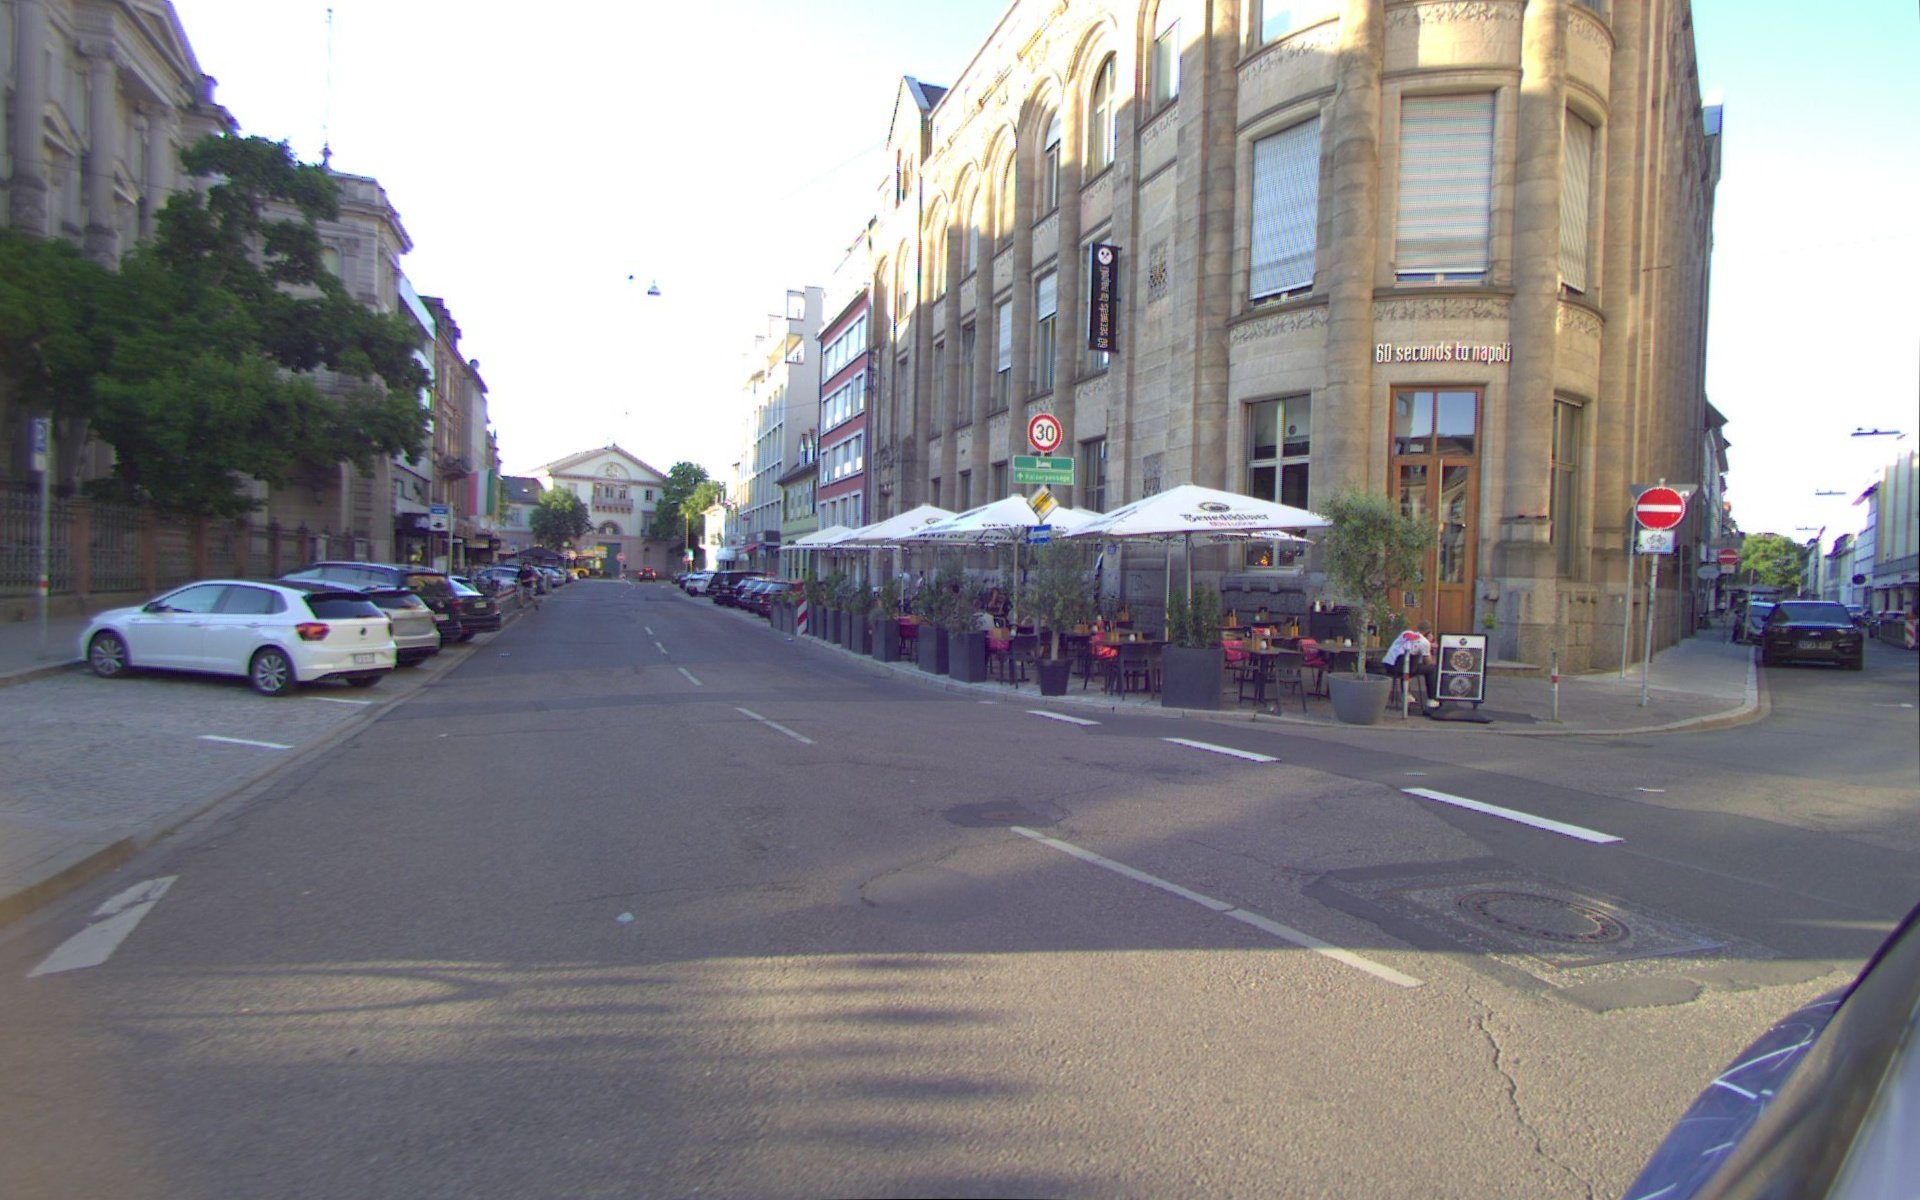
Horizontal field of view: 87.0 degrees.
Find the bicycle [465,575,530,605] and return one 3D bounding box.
[{"bbox_3d":[-17.827,-0.383,39.064,2.254,1.104,0.718,0,1,-23],"label":"bicycle"}]

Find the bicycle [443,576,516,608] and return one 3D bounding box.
[{"bbox_3d":[-16.662,-0.283,35.128,2.254,1.104,0.718,0,1,-23],"label":"bicycle"}]

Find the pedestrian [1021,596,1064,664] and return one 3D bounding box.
[{"bbox_3d":[1.498,0.541,18.497,0.588,1.203,0.575,1,1,-16],"label":"pedestrian"}]

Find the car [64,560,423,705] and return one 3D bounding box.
[{"bbox_3d":[-9.751,0.381,13.910,3.847,1.464,1.751,6,2,9],"label":"car"}]

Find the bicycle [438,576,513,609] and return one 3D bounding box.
[{"bbox_3d":[-16.364,-0.256,34.249,2.254,1.104,0.718,0,1,-23],"label":"bicycle"}]

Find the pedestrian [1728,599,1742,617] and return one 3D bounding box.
[{"bbox_3d":[55.929,0.605,73.037,0.734,1.258,0.637,1,1,40],"label":"pedestrian"}]

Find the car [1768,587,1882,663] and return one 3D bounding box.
[{"bbox_3d":[23.192,0.601,27.292,1.989,1.805,4.868,2,1,37],"label":"car"}]

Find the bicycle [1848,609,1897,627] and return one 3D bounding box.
[{"bbox_3d":[64.340,1.268,71.367,0.771,1.193,2.477,0,2,-45],"label":"bicycle"}]

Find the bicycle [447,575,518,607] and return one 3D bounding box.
[{"bbox_3d":[-16.963,-0.310,36.011,2.254,1.104,0.718,0,1,-23],"label":"bicycle"}]

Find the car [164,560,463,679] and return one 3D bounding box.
[{"bbox_3d":[-10.518,0.265,16.594,3.934,1.544,1.751,4,2,9],"label":"car"}]

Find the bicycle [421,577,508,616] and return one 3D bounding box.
[{"bbox_3d":[-14.548,-0.115,29.796,2.254,1.104,0.718,0,1,-23],"label":"bicycle"}]

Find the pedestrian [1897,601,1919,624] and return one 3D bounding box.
[{"bbox_3d":[44.463,0.583,47.459,0.629,1.080,0.554,1,1,31],"label":"pedestrian"}]

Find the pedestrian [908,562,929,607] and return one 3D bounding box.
[{"bbox_3d":[-1.644,-0.608,40.129,0.585,1.751,0.630,1,1,-24],"label":"pedestrian"}]

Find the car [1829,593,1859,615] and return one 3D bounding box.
[{"bbox_3d":[87.992,0.397,100.773,1.990,2.067,4.397,2,1,38],"label":"car"}]

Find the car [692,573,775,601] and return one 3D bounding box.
[{"bbox_3d":[-12.098,-0.711,54.307,1.904,1.430,4.144,2,2,37],"label":"car"}]

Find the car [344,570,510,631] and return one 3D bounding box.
[{"bbox_3d":[-13.624,-0.022,25.860,3.957,1.430,1.741,1,1,25],"label":"car"}]

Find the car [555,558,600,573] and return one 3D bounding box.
[{"bbox_3d":[-46.556,-4.183,123.194,4.783,1.757,1.754,-1,2,-38],"label":"car"}]

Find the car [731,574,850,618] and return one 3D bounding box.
[{"bbox_3d":[-5.873,-0.176,35.461,1.745,1.430,4.015,2,2,37],"label":"car"}]

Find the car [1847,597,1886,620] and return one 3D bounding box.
[{"bbox_3d":[70.941,0.624,79.257,1.990,1.697,4.397,2,1,38],"label":"car"}]

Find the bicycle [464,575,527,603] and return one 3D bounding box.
[{"bbox_3d":[-18.262,-0.429,39.848,2.254,1.104,0.718,0,1,-23],"label":"bicycle"}]

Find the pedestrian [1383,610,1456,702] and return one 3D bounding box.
[{"bbox_3d":[6.374,0.758,14.030,0.807,1.203,0.607,1,1,-41],"label":"pedestrian"}]

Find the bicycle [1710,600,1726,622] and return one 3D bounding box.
[{"bbox_3d":[39.829,0.574,53.184,0.518,1.103,1.728,7,4,38],"label":"bicycle"}]

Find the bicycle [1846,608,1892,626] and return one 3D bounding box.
[{"bbox_3d":[66.821,1.265,74.425,0.771,1.193,2.477,0,2,-45],"label":"bicycle"}]

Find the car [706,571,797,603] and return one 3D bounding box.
[{"bbox_3d":[-9.649,-0.631,47.077,1.745,1.430,4.052,2,2,37],"label":"car"}]

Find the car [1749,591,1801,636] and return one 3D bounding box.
[{"bbox_3d":[35.347,0.543,43.908,1.668,1.829,4.179,1,1,39],"label":"car"}]

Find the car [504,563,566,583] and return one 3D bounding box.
[{"bbox_3d":[-31.780,-2.005,75.794,3.923,1.430,1.756,1,1,-1],"label":"car"}]

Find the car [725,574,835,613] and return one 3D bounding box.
[{"bbox_3d":[-6.922,-0.290,39.205,1.745,1.430,4.127,2,2,37],"label":"car"}]

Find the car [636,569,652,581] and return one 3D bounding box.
[{"bbox_3d":[-37.277,-2.951,119.273,1.718,1.430,4.009,0,2,-18],"label":"car"}]

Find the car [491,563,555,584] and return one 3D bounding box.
[{"bbox_3d":[-31.536,-1.938,73.128,3.923,1.430,1.756,1,1,-1],"label":"car"}]

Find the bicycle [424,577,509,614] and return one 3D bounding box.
[{"bbox_3d":[-14.877,-0.139,30.567,2.254,1.104,0.718,0,1,-23],"label":"bicycle"}]

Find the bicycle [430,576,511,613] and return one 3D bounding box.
[{"bbox_3d":[-15.279,-0.174,31.671,2.254,1.104,0.718,0,1,-23],"label":"bicycle"}]

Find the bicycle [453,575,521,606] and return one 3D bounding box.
[{"bbox_3d":[-17.308,-0.343,37.080,2.254,1.104,0.718,0,1,-23],"label":"bicycle"}]

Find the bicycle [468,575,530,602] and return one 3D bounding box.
[{"bbox_3d":[-18.685,-0.467,41.056,2.254,1.104,0.718,0,1,-23],"label":"bicycle"}]

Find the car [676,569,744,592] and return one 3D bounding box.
[{"bbox_3d":[-15.992,-1.240,64.823,1.745,1.430,4.023,2,2,37],"label":"car"}]

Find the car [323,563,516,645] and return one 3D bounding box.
[{"bbox_3d":[-11.869,0.035,22.222,3.957,1.628,1.741,1,1,25],"label":"car"}]

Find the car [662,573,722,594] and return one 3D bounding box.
[{"bbox_3d":[-19.128,-1.215,72.460,1.745,1.430,3.958,2,2,37],"label":"car"}]

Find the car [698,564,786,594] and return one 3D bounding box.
[{"bbox_3d":[-10.681,-1.048,49.823,1.745,1.430,4.144,2,2,37],"label":"car"}]

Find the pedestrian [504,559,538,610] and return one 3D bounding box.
[{"bbox_3d":[-15.527,-0.554,35.821,0.953,1.771,1.005,1,1,-18],"label":"pedestrian"}]

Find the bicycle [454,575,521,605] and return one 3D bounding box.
[{"bbox_3d":[-17.646,-0.369,37.870,2.254,1.104,0.718,0,1,-23],"label":"bicycle"}]

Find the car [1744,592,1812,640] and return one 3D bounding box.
[{"bbox_3d":[31.989,0.581,39.668,1.768,1.687,3.949,3,2,36],"label":"car"}]

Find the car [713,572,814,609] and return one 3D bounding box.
[{"bbox_3d":[-8.060,-0.432,41.817,1.745,1.430,3.977,2,2,37],"label":"car"}]

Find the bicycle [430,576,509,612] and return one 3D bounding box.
[{"bbox_3d":[-15.681,-0.198,32.418,2.254,1.104,0.718,0,1,-23],"label":"bicycle"}]

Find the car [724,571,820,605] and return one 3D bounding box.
[{"bbox_3d":[-8.295,-0.556,44.871,1.745,1.430,4.090,2,2,37],"label":"car"}]

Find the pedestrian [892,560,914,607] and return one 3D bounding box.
[{"bbox_3d":[-2.162,-0.627,38.628,0.616,1.751,0.598,1,1,-26],"label":"pedestrian"}]

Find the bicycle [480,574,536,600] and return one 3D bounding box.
[{"bbox_3d":[-19.998,-0.585,44.846,2.254,1.104,0.718,0,1,-23],"label":"bicycle"}]

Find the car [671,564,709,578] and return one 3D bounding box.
[{"bbox_3d":[-29.758,-3.201,111.680,3.916,1.430,1.759,0,1,-19],"label":"car"}]

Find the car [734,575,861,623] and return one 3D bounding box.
[{"bbox_3d":[-5.236,-0.079,33.067,1.745,1.430,4.052,2,2,37],"label":"car"}]

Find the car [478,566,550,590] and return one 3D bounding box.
[{"bbox_3d":[-27.338,-1.368,62.160,3.916,1.430,1.759,0,1,-19],"label":"car"}]

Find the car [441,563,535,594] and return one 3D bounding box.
[{"bbox_3d":[-22.414,-1.035,48.196,3.916,1.430,1.759,0,1,-19],"label":"car"}]

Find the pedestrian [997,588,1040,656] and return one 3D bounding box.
[{"bbox_3d":[1.124,0.420,19.541,0.588,1.261,0.687,1,1,-16],"label":"pedestrian"}]

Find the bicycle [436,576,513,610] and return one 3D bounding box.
[{"bbox_3d":[-15.976,-0.228,33.382,2.254,1.104,0.718,0,1,-23],"label":"bicycle"}]

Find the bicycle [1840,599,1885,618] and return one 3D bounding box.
[{"bbox_3d":[68.438,0.650,76.754,0.771,1.346,2.477,0,2,-45],"label":"bicycle"}]

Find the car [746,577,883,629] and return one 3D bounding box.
[{"bbox_3d":[-4.251,0.046,30.088,1.745,1.430,4.015,2,2,37],"label":"car"}]

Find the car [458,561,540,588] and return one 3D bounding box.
[{"bbox_3d":[-25.088,-1.401,55.240,3.916,1.430,1.759,0,1,-19],"label":"car"}]

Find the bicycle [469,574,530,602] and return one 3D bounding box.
[{"bbox_3d":[-19.032,-0.492,41.857,2.254,1.104,0.718,0,1,-23],"label":"bicycle"}]

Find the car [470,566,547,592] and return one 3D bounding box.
[{"bbox_3d":[-25.928,-1.229,58.283,3.916,1.430,1.759,0,1,-19],"label":"car"}]

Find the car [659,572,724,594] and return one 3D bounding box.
[{"bbox_3d":[-17.903,-1.158,67.661,1.745,1.430,3.979,2,2,37],"label":"car"}]

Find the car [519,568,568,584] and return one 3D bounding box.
[{"bbox_3d":[-37.456,-2.165,91.089,3.916,1.430,1.759,0,1,-19],"label":"car"}]

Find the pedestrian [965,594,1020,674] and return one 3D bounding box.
[{"bbox_3d":[0.537,0.545,16.558,0.680,1.261,0.594,2,1,30],"label":"pedestrian"}]

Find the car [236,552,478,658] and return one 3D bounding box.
[{"bbox_3d":[-11.461,0.041,19.286,3.945,1.742,1.747,3,2,16],"label":"car"}]
